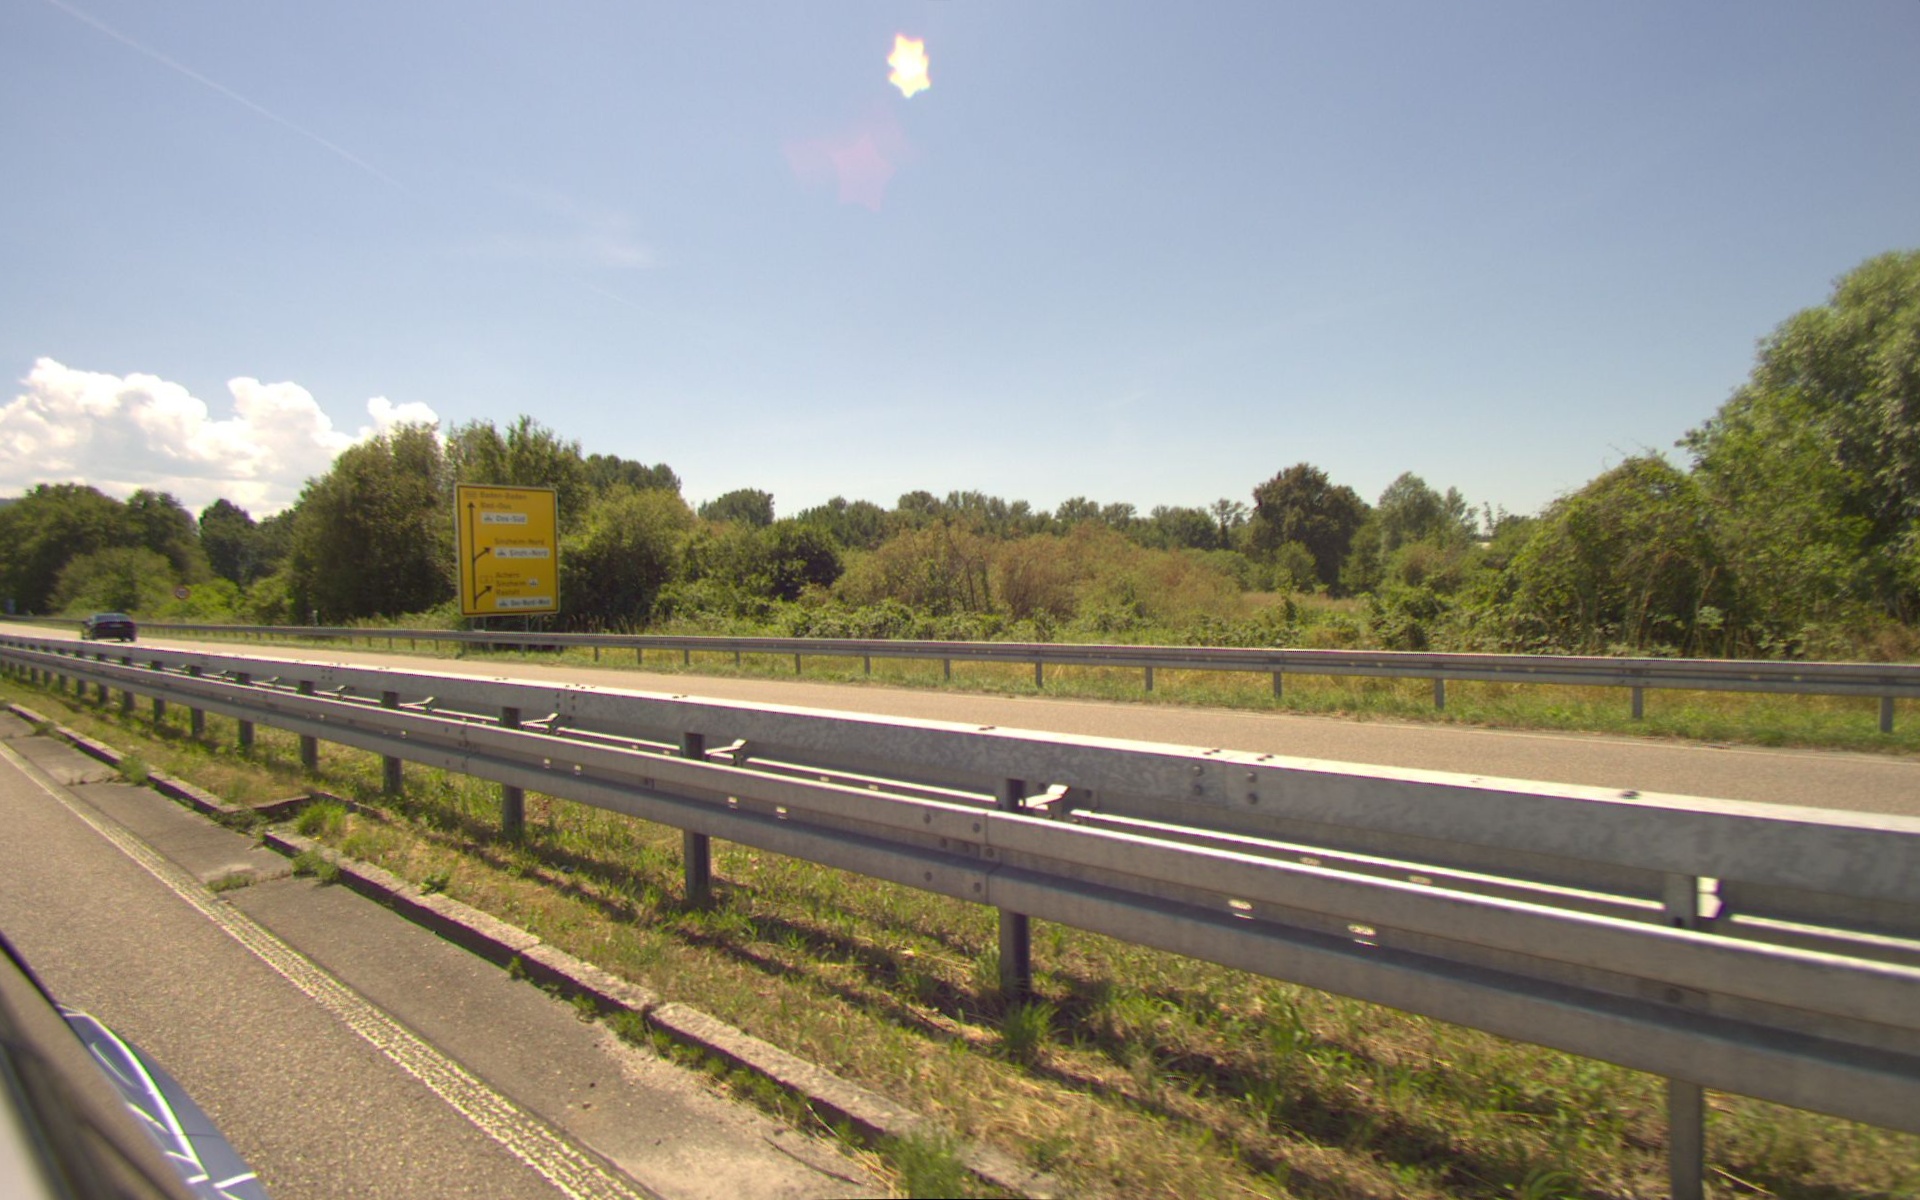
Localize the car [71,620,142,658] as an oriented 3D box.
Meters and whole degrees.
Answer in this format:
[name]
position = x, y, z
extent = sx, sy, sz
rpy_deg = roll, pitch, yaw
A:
[car]
position = -42.323, 1.896, 50.167
extent = 4.872, 1.649, 1.973
rpy_deg = -2, 2, 42
